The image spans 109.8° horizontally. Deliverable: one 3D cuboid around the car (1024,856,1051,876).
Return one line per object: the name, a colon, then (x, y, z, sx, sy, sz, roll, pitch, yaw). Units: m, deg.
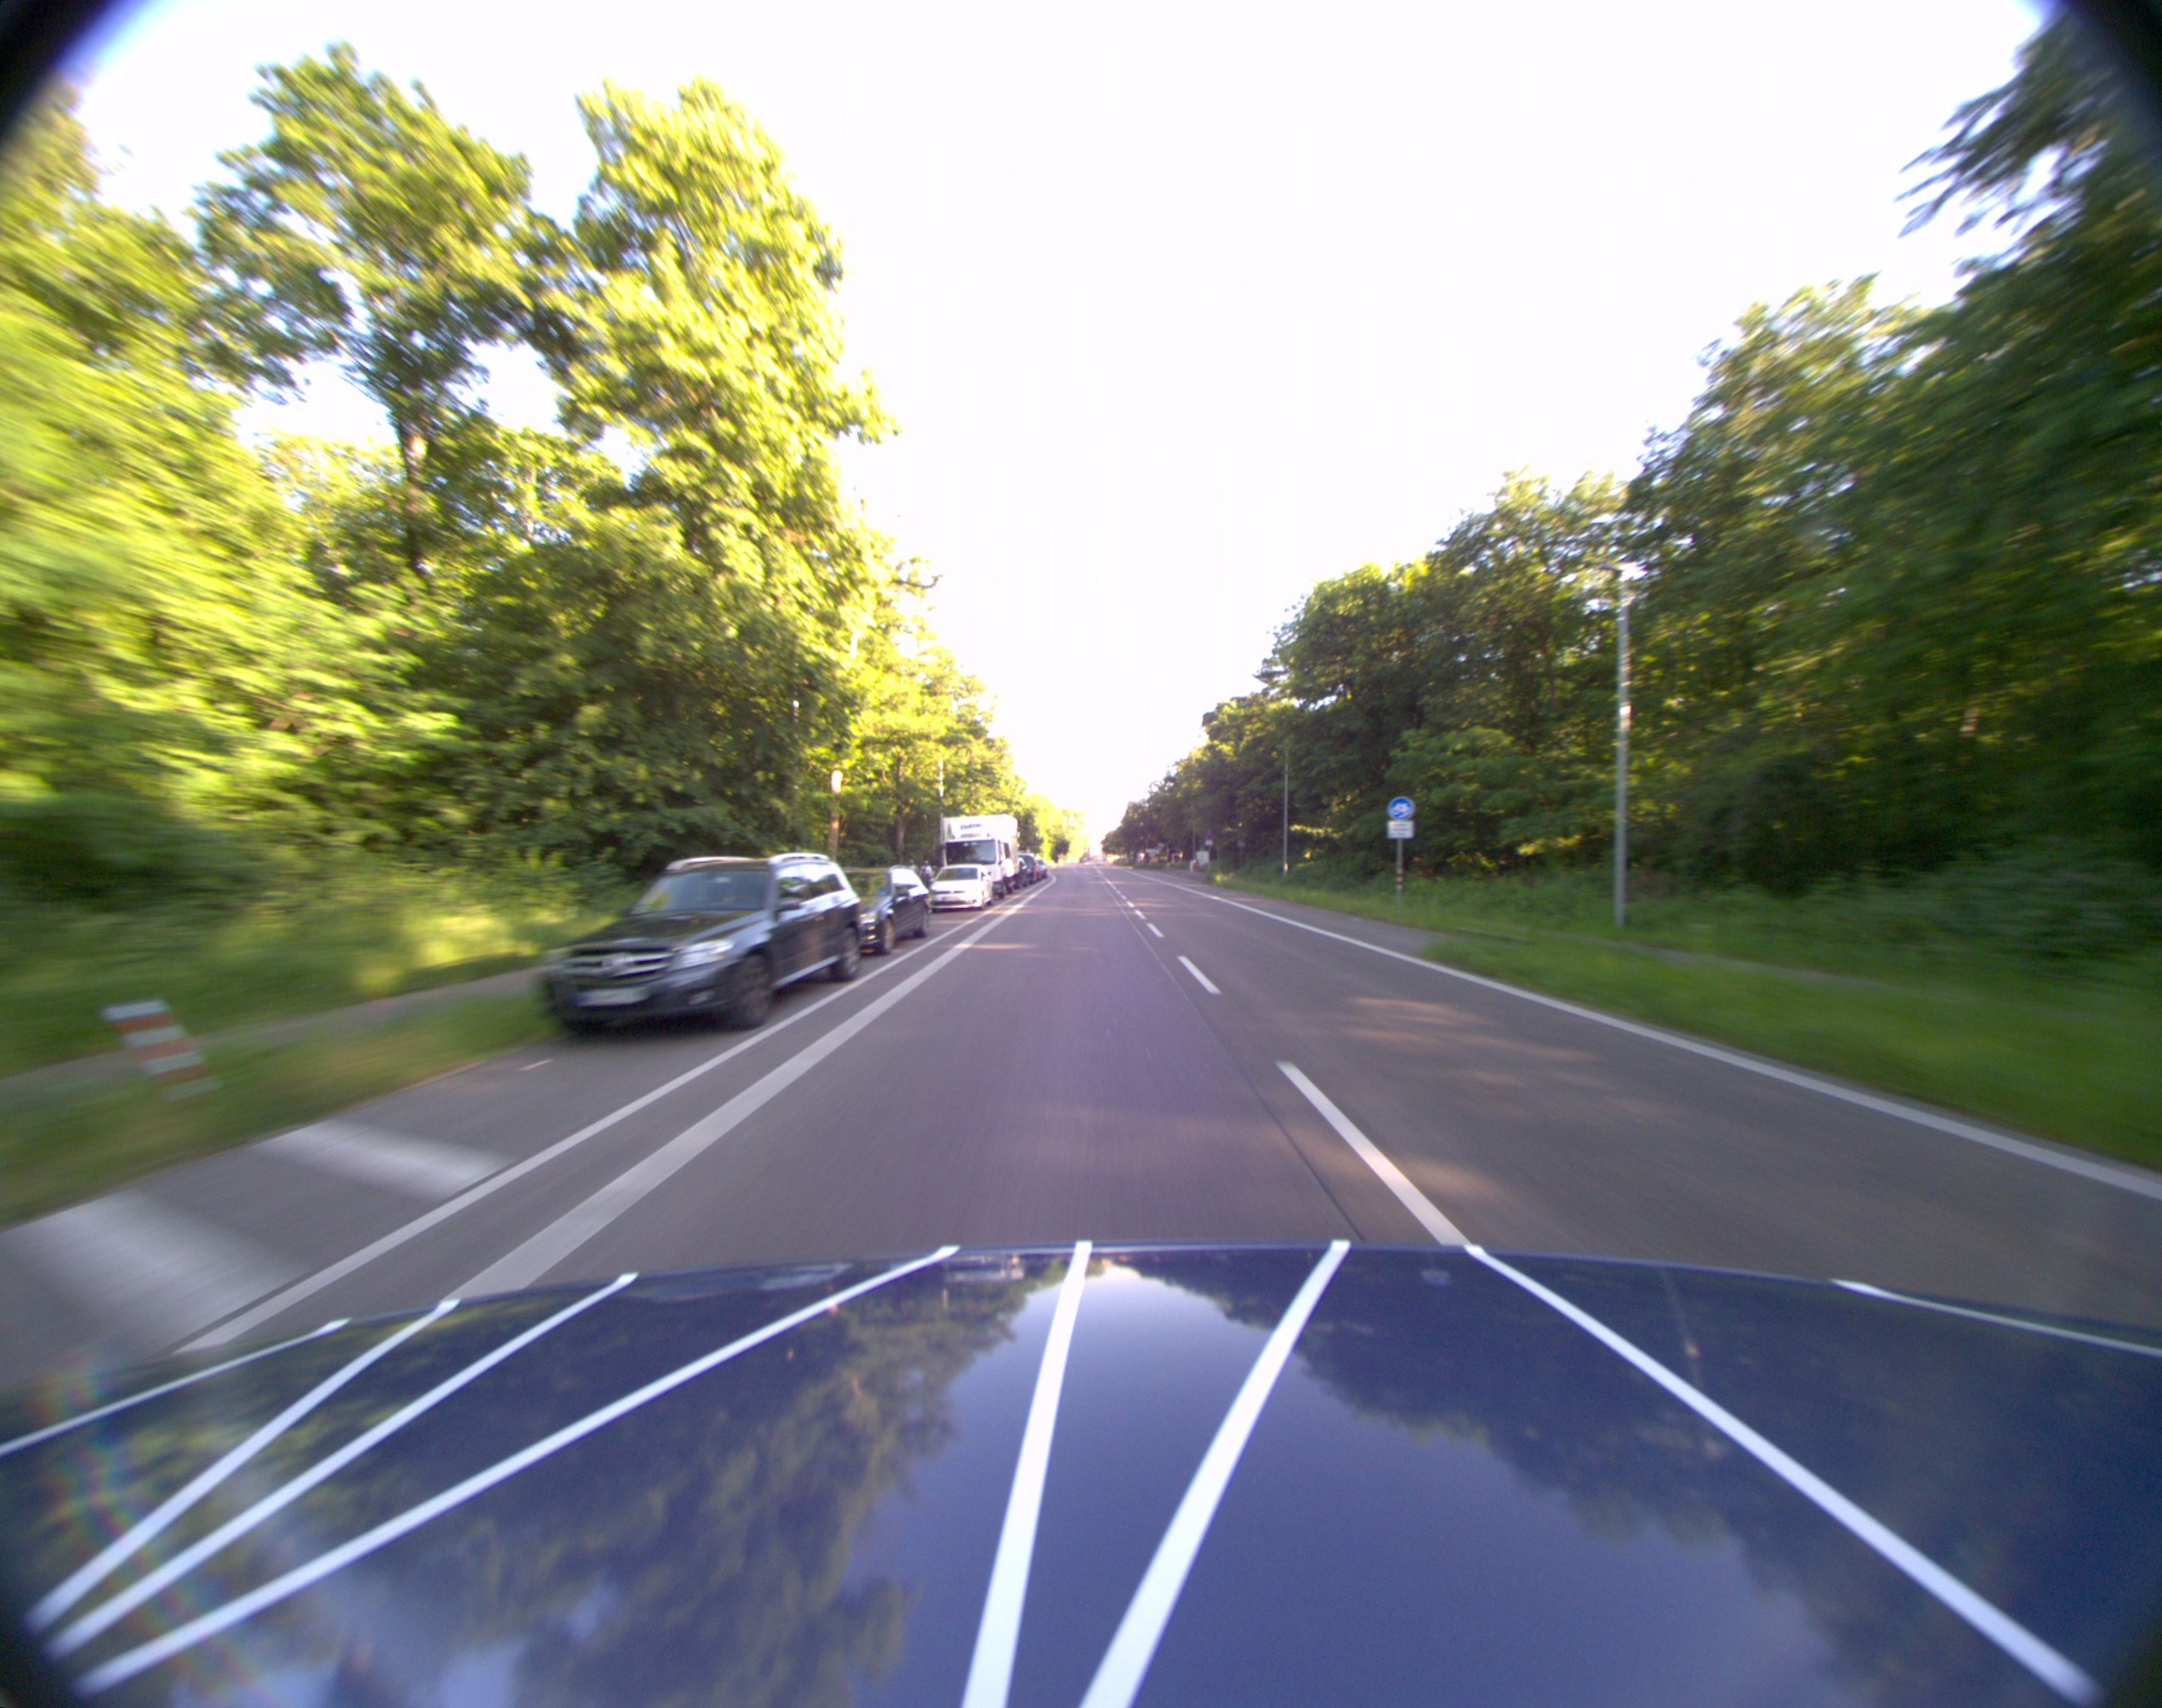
car: (-3.434, 0.941, 60.667, 1.803, 1.585, 4.029, 0, 0, 1)

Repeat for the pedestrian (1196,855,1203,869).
pedestrian: (13.861, 0.969, 88.948, 0.676, 1.644, 0.790, 0, 0, 5)

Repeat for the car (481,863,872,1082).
car: (-3.895, 0.989, 8.405, 1.716, 1.655, 4.552, -2, 0, 2)

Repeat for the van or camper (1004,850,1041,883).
van or camper: (-3.666, 0.787, 48.405, 1.902, 2.002, 4.587, 0, 0, 1)

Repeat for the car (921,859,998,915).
car: (-3.801, 0.997, 24.392, 1.716, 1.559, 4.000, -2, 0, 0)

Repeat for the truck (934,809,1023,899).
truck: (-4.254, 0.004, 33.432, 2.840, 3.477, 8.577, 0, 0, 0)

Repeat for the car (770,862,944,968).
car: (-3.937, 0.987, 14.222, 1.716, 1.559, 4.552, -2, 0, 2)

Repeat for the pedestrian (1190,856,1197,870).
pedestrian: (13.174, 1.057, 89.023, 0.676, 1.644, 0.790, 0, 0, 5)

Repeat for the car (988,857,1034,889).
car: (-3.779, 1.002, 41.865, 1.802, 1.647, 4.030, 0, 0, 6)
